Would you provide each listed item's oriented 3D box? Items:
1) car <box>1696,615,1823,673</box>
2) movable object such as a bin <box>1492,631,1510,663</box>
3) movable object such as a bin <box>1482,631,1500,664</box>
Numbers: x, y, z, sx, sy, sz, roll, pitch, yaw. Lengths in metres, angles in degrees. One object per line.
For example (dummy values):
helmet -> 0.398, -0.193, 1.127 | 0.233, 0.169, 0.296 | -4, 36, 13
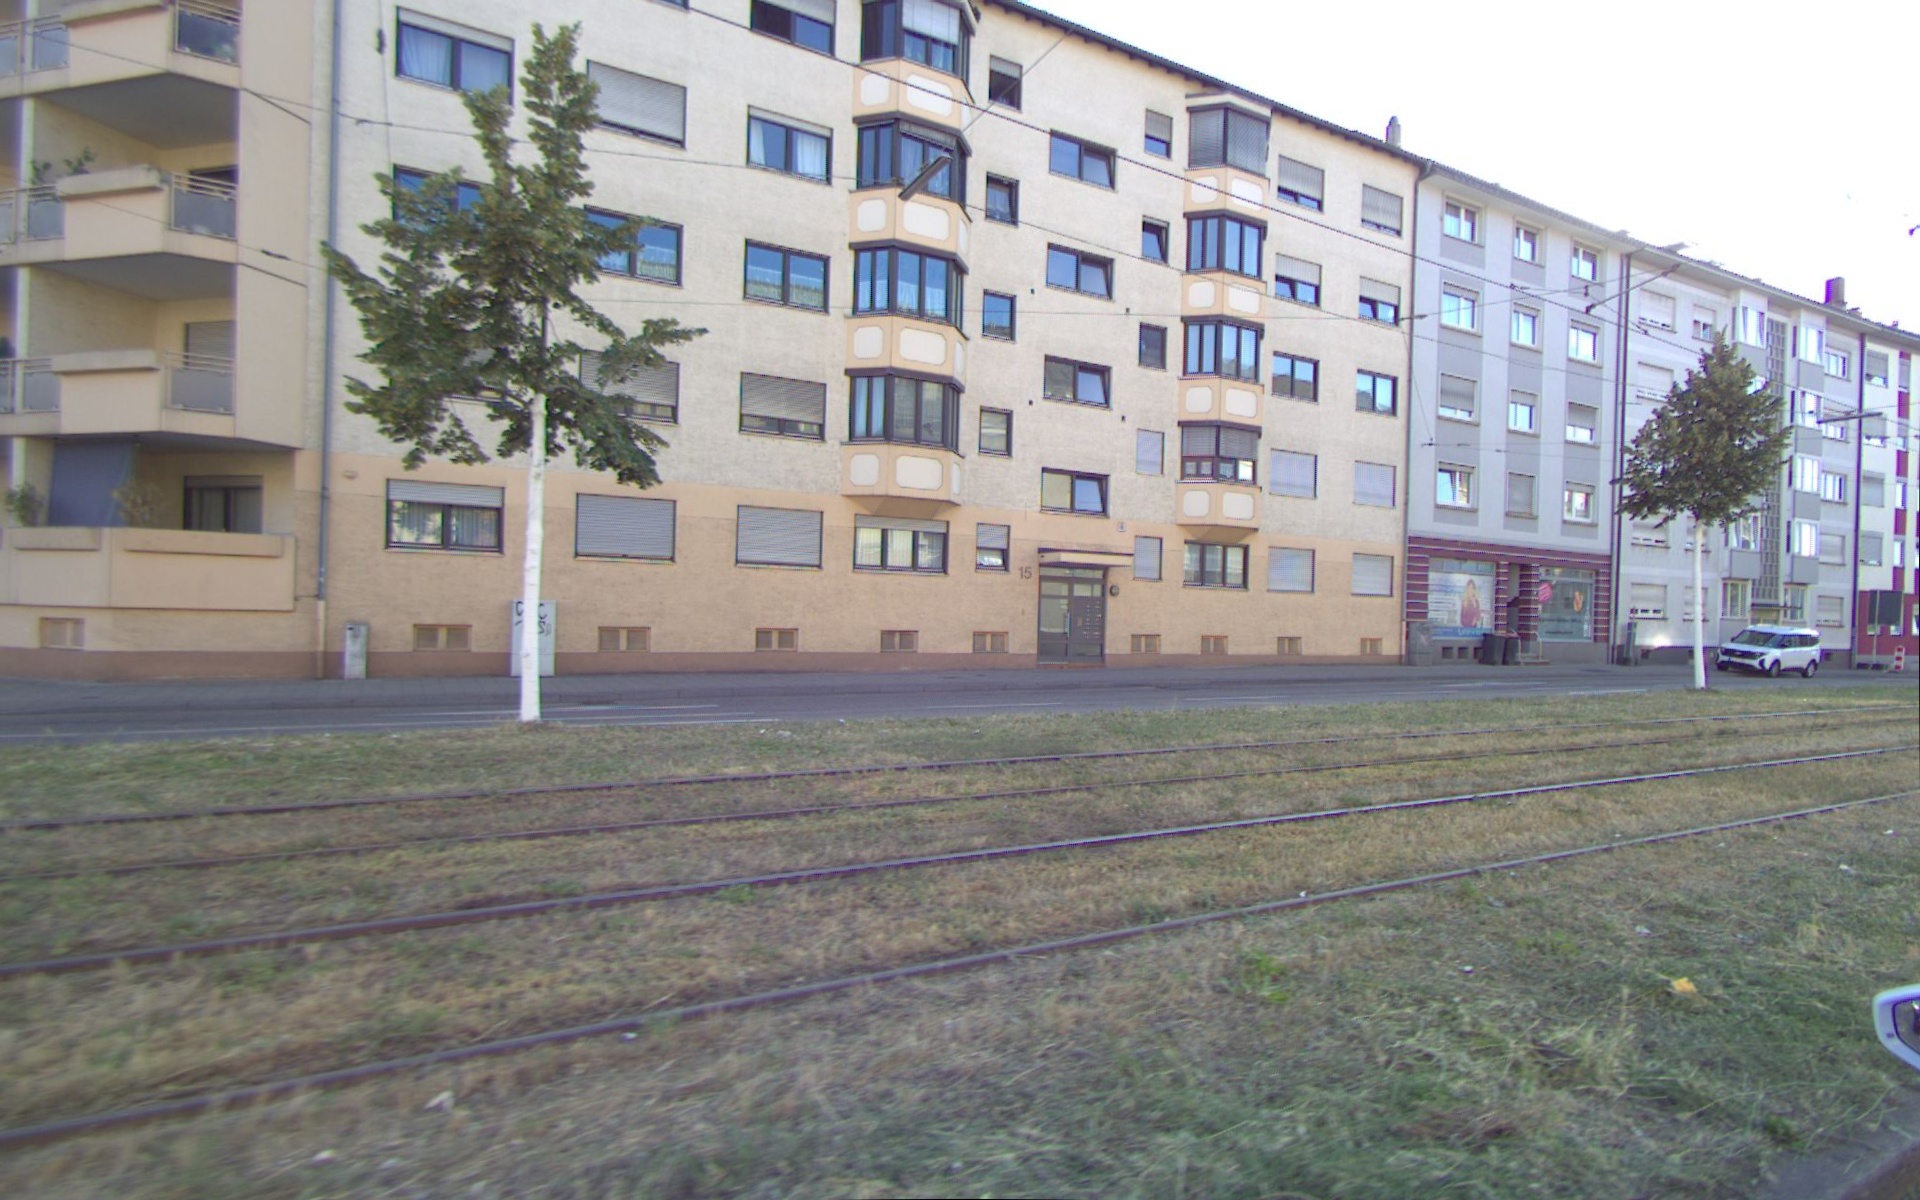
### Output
car -> 30.168, 1.680, 37.905 | 4.483, 1.950, 1.986 | 3, 1, -27
movable object such as a bin -> 18.063, 1.578, 33.553 | 0.436, 1.050, 0.297 | 2, 1, -31
movable object such as a bin -> 17.618, 1.568, 33.313 | 0.436, 1.050, 0.297 | 2, 1, -31
